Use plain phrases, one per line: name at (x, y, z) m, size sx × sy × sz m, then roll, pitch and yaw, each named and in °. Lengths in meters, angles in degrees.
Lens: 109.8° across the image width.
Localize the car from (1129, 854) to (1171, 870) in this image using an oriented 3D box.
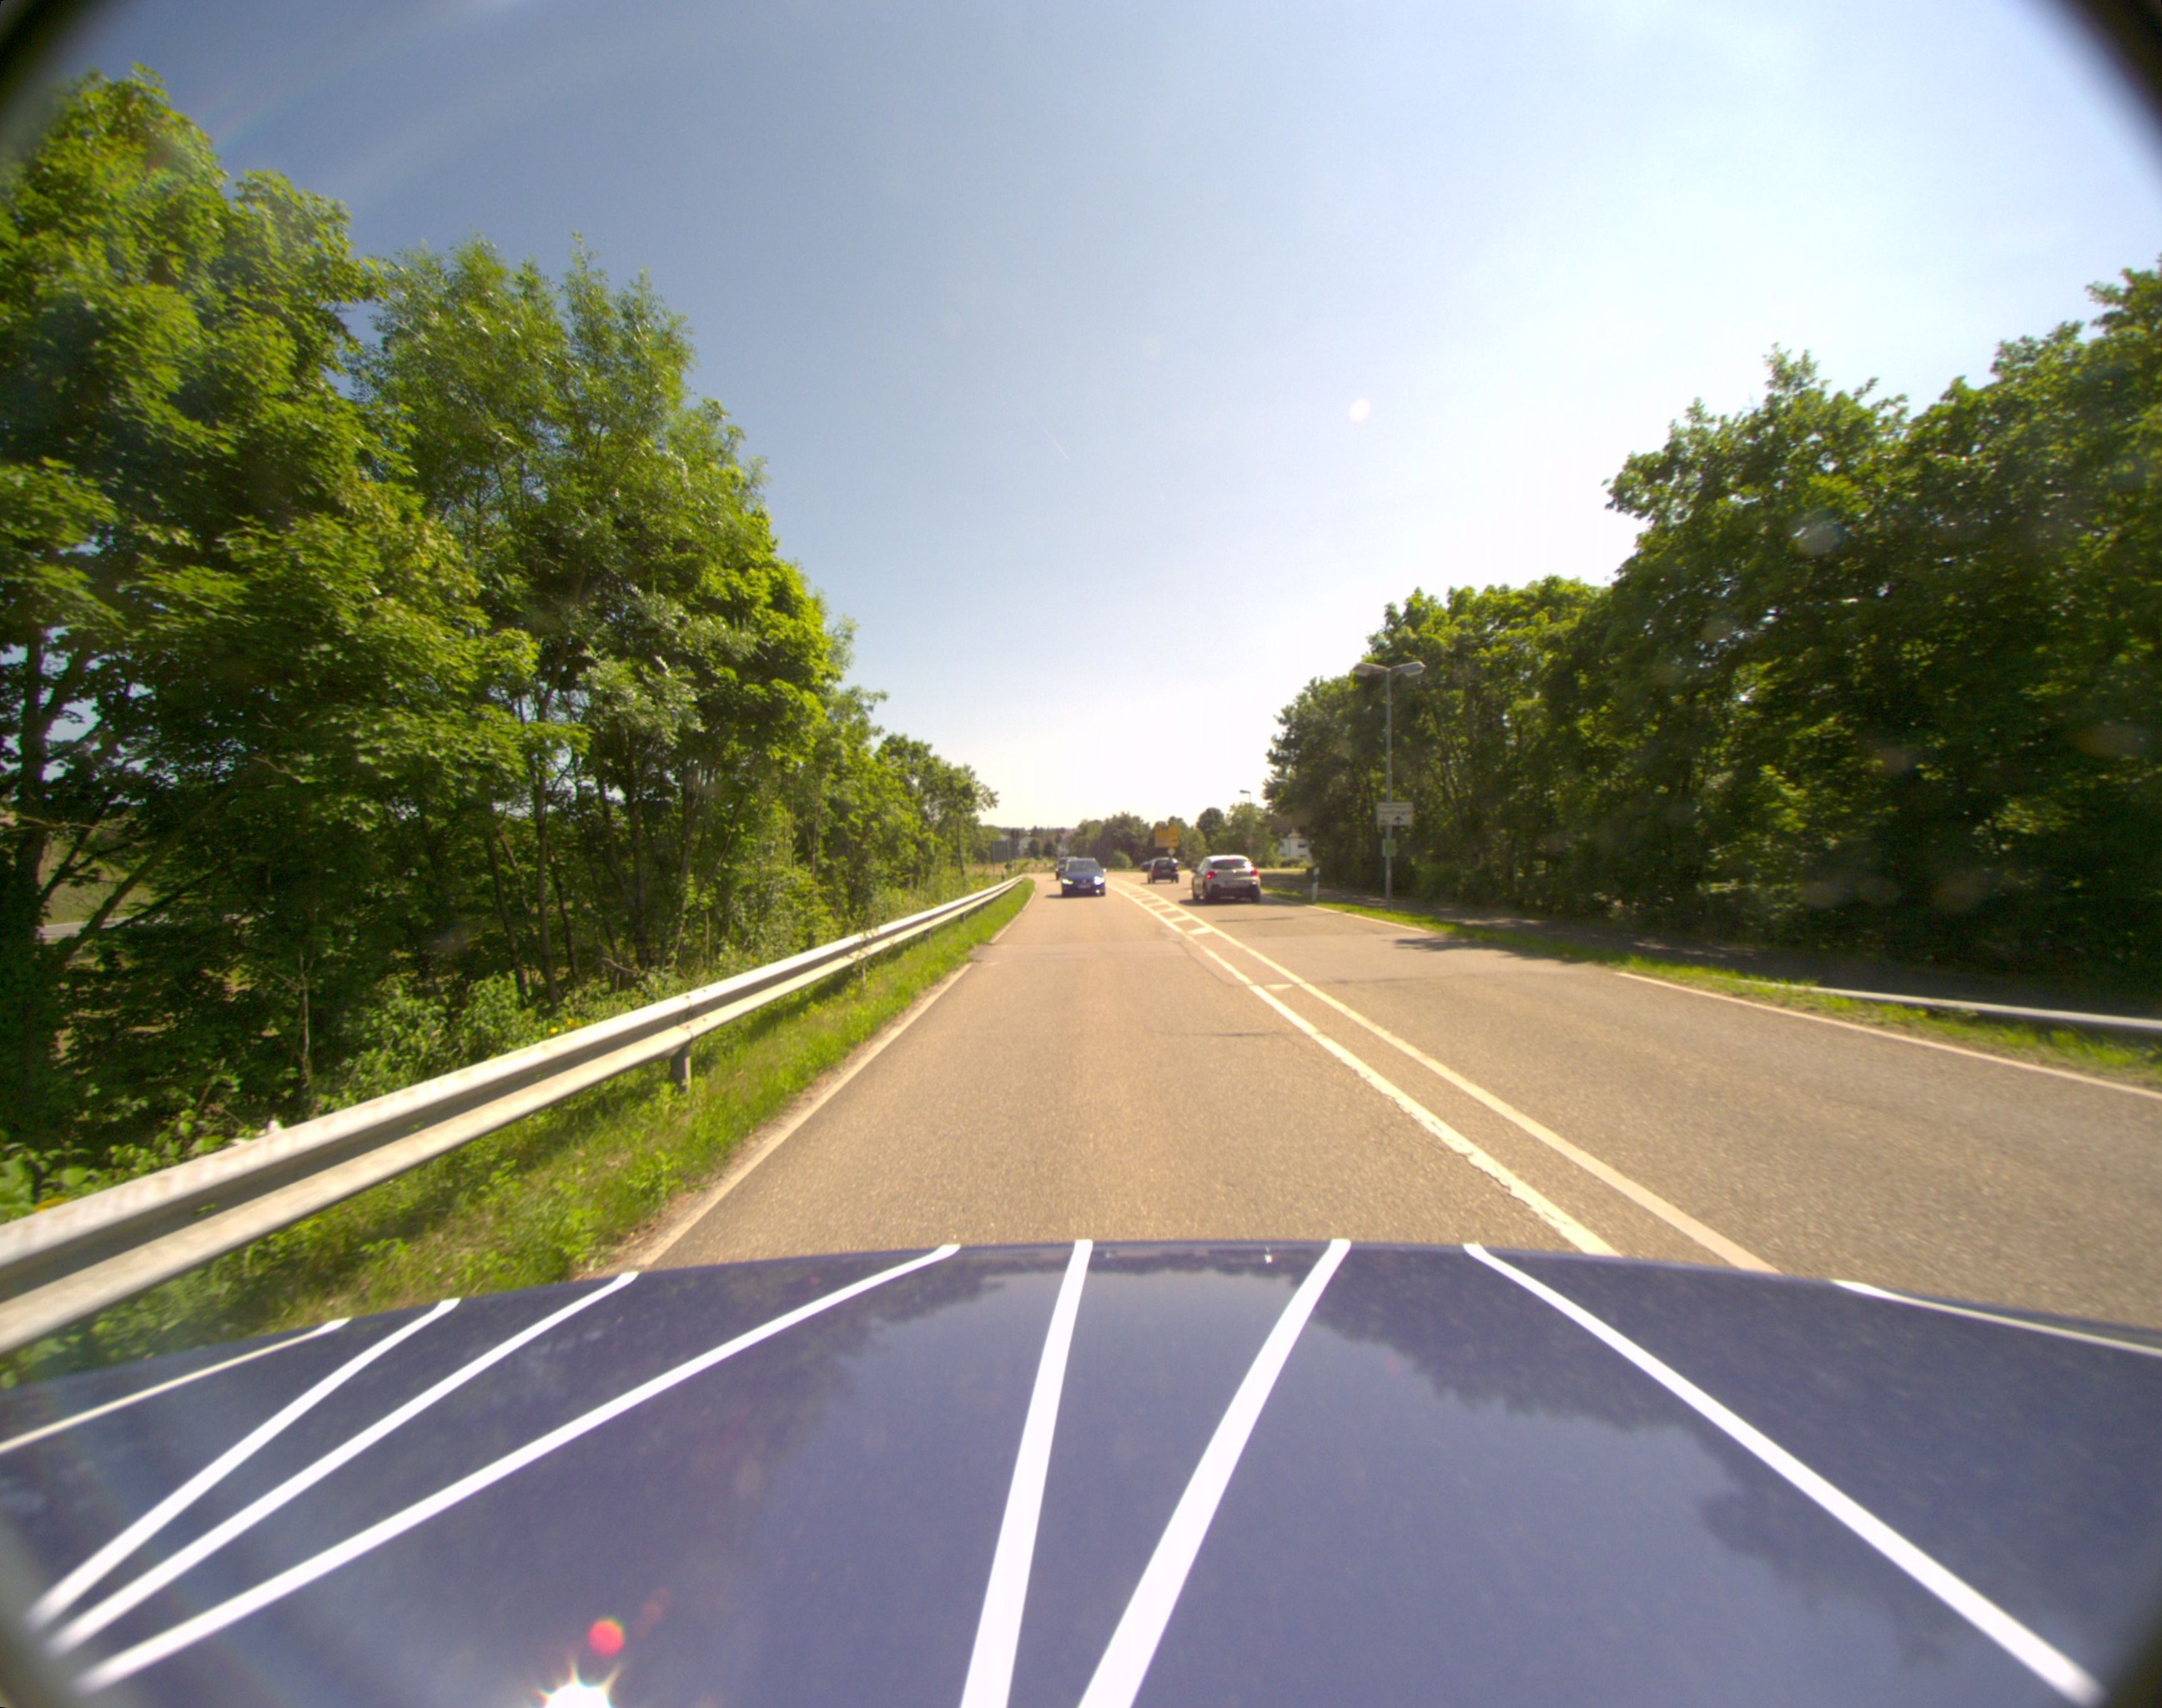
car at (7.794, 0.931, 85.501) m, size 4.381 × 1.635 × 1.747 m, roll -1°, pitch -3°, yaw -22°

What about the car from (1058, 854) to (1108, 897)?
car at (0.141, 0.854, 31.926) m, size 1.828 × 1.591 × 4.196 m, roll -2°, pitch 0°, yaw 3°

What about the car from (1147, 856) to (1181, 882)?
car at (4.943, 0.865, 45.664) m, size 1.631 × 1.396 × 3.432 m, roll -2°, pitch 0°, yaw 0°

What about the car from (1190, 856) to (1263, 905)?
car at (4.643, 0.807, 24.756) m, size 1.743 × 1.447 × 3.889 m, roll -1°, pitch 0°, yaw 2°

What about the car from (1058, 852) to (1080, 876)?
car at (-1.019, 0.886, 66.534) m, size 1.779 × 2.006 × 4.001 m, roll 1°, pitch 0°, yaw 2°
